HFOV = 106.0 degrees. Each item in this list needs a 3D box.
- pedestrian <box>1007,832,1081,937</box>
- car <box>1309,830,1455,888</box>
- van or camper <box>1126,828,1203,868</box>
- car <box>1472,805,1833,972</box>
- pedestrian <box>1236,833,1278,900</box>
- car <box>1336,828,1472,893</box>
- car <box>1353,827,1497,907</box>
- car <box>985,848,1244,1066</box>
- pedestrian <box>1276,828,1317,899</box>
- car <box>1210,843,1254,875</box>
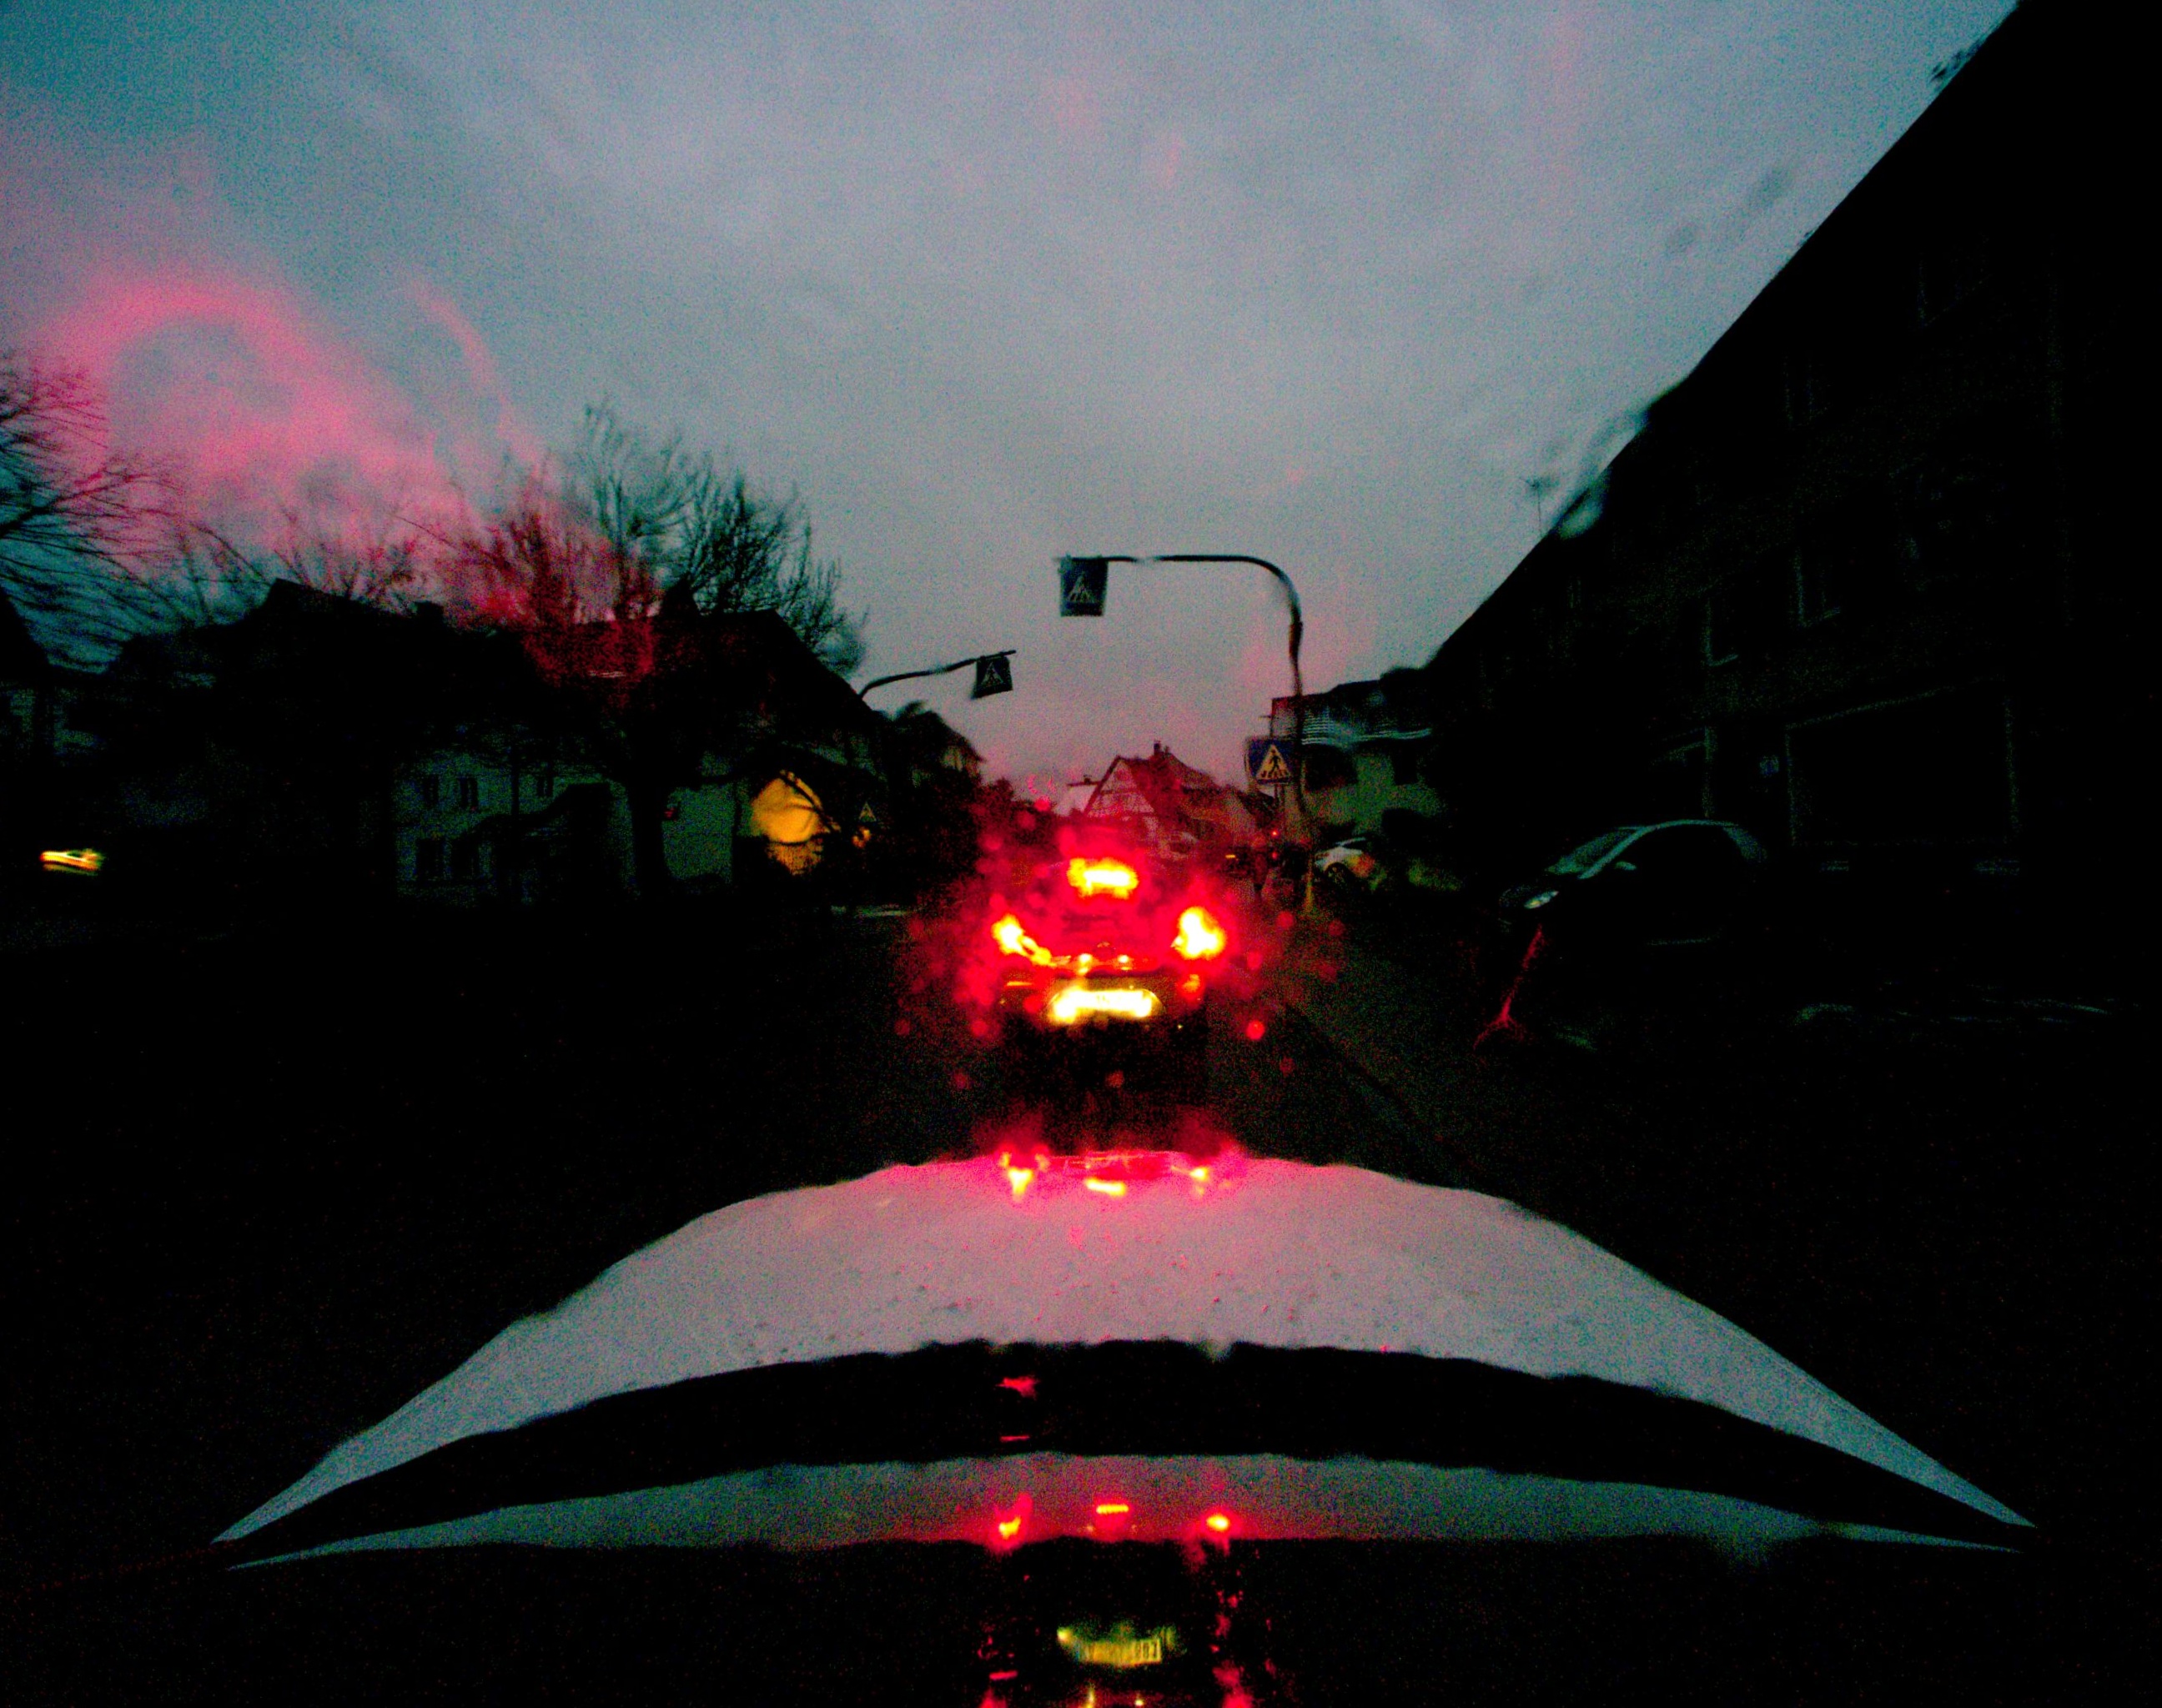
[{"bbox_3d":[-0.638,0.517,14.412,0.873,1.735,0.960,-5,0,17],"label":"pedestrian"},{"bbox_3d":[8.996,0.155,24.643,3.874,1.474,1.756,-4,0,11],"label":"car"},{"bbox_3d":[7.352,-0.479,71.564,6.005,2.955,2.420,-5,-1,24],"label":"van or camper"},{"bbox_3d":[5.886,0.353,8.677,2.747,1.474,1.430,-4,0,9],"label":"car"},{"bbox_3d":[4.682,0.315,21.610,0.860,1.666,0.996,-5,0,16],"label":"pedestrian"},{"bbox_3d":[8.426,0.165,21.460,3.044,1.474,1.555,-4,0,12],"label":"car"},{"bbox_3d":[7.508,0.263,17.968,2.568,1.547,1.555,-4,0,9],"label":"car"},{"bbox_3d":[0.186,0.701,7.682,1.790,1.476,3.997,-1,0,-2],"label":"car"},{"bbox_3d":[5.645,0.238,21.303,0.841,1.733,0.976,-5,0,17],"label":"pedestrian"},{"bbox_3d":[8.213,0.230,43.979,1.833,1.637,4.355,-1,0,16],"label":"car"}]
